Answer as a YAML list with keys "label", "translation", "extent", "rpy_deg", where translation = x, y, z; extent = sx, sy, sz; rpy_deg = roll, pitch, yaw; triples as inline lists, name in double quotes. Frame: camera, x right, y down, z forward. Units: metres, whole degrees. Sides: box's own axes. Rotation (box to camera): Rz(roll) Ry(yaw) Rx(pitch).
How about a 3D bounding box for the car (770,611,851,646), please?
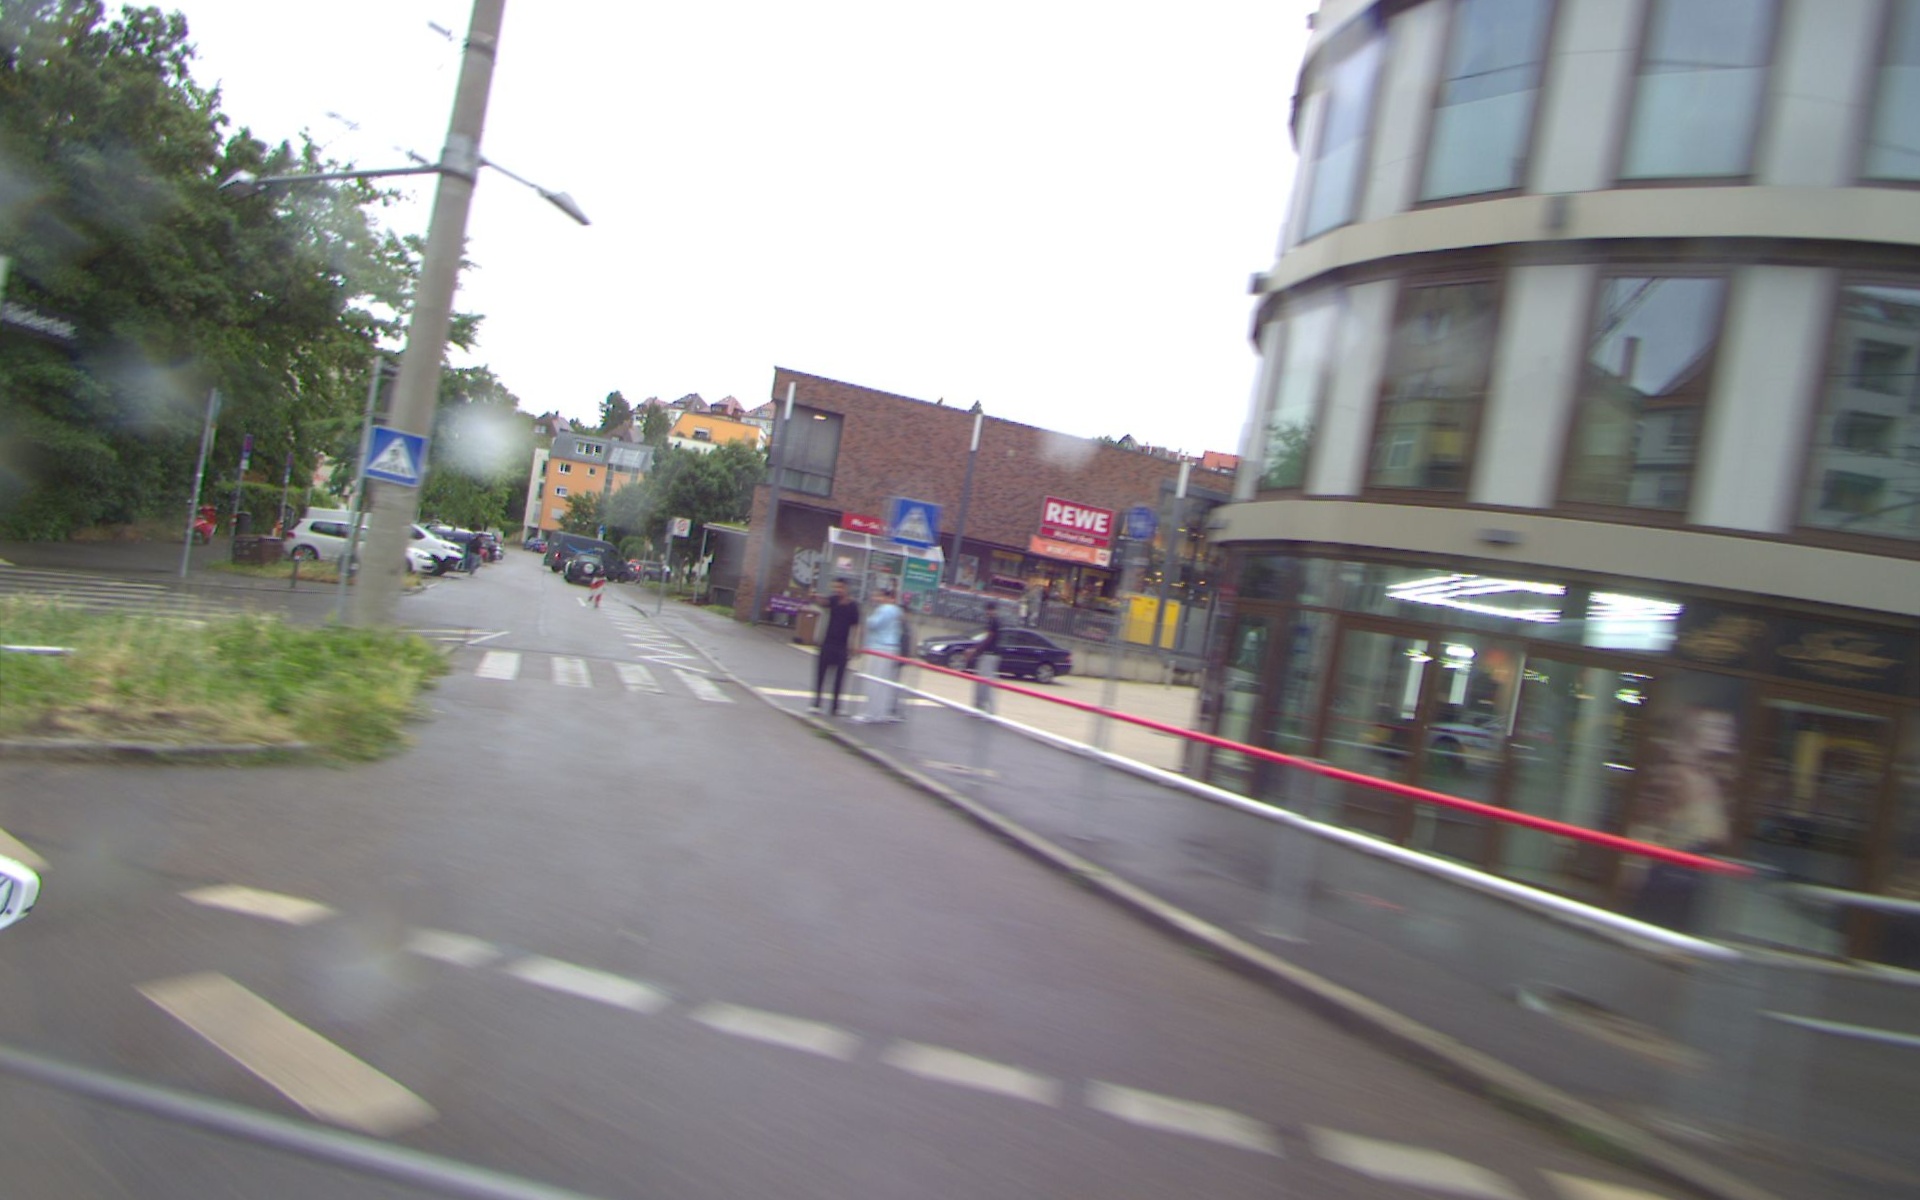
- label: "car"
  translation: [-7.678, 1.457, 51.728]
  extent: [3.932, 1.258, 1.999]
  rpy_deg: [8, -2, -8]

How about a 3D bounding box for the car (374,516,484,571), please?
- label: "car"
  translation: [-23.726, -2.487, 45.075]
  extent: [3.945, 1.793, 1.839]
  rpy_deg: [9, -1, -20]

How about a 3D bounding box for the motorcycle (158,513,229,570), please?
- label: "motorcycle"
  translation: [-21.983, -1.643, 28.897]
  extent: [0.815, 1.389, 2.418]
  rpy_deg: [12, -4, -23]

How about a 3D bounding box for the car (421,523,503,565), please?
- label: "car"
  translation: [-29.457, -3.296, 59.638]
  extent: [3.945, 1.793, 1.839]
  rpy_deg: [9, -1, -20]

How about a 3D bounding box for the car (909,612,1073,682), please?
- label: "car"
  translation: [0.846, 1.282, 27.703]
  extent: [3.949, 1.375, 1.988]
  rpy_deg: [7, 0, -25]

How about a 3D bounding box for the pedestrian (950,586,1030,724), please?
- label: "pedestrian"
  translation: [0.471, 0.860, 15.794]
  extent: [0.875, 2.038, 0.593]
  rpy_deg: [7, 0, 24]

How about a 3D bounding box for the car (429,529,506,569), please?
- label: "car"
  translation: [-30.613, -3.143, 62.608]
  extent: [3.945, 1.793, 1.839]
  rpy_deg: [9, -1, -20]

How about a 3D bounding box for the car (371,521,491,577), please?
- label: "car"
  translation: [-20.599, -1.961, 39.351]
  extent: [3.849, 1.705, 1.730]
  rpy_deg: [6, 0, -21]

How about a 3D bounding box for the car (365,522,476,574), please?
- label: "car"
  translation: [-23.089, -2.200, 43.188]
  extent: [3.849, 1.705, 1.730]
  rpy_deg: [6, 0, -21]

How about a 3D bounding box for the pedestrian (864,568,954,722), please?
- label: "pedestrian"
  translation: [-0.722, 0.631, 14.197]
  extent: [0.875, 2.039, 0.593]
  rpy_deg: [7, 1, 24]

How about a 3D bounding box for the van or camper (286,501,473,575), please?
- label: "van or camper"
  translation: [-19.776, -2.063, 34.567]
  extent: [5.103, 1.857, 1.992]
  rpy_deg: [6, 0, -18]

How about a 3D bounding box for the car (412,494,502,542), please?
- label: "car"
  translation: [-26.815, -4.344, 53.753]
  extent: [3.945, 1.793, 1.839]
  rpy_deg: [9, -1, -20]

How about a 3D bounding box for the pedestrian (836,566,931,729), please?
- label: "pedestrian"
  translation: [-1.017, 0.629, 13.532]
  extent: [0.875, 2.039, 0.657]
  rpy_deg: [7, 1, 16]

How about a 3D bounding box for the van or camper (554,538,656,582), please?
- label: "van or camper"
  translation: [-23.406, -2.618, 66.524]
  extent: [1.974, 2.038, 5.911]
  rpy_deg: [7, 0, 45]

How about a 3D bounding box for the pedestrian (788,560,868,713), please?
- label: "pedestrian"
  translation: [-1.840, 0.511, 14.084]
  extent: [0.771, 2.039, 0.684]
  rpy_deg: [4, 0, 16]

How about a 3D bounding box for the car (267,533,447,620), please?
- label: "car"
  translation: [-19.014, -0.706, 31.988]
  extent: [4.451, 2.036, 1.990]
  rpy_deg: [8, -2, -23]

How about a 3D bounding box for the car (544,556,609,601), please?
- label: "car"
  translation: [-20.752, -1.179, 54.324]
  extent: [1.984, 2.038, 3.956]
  rpy_deg: [7, 0, -39]
